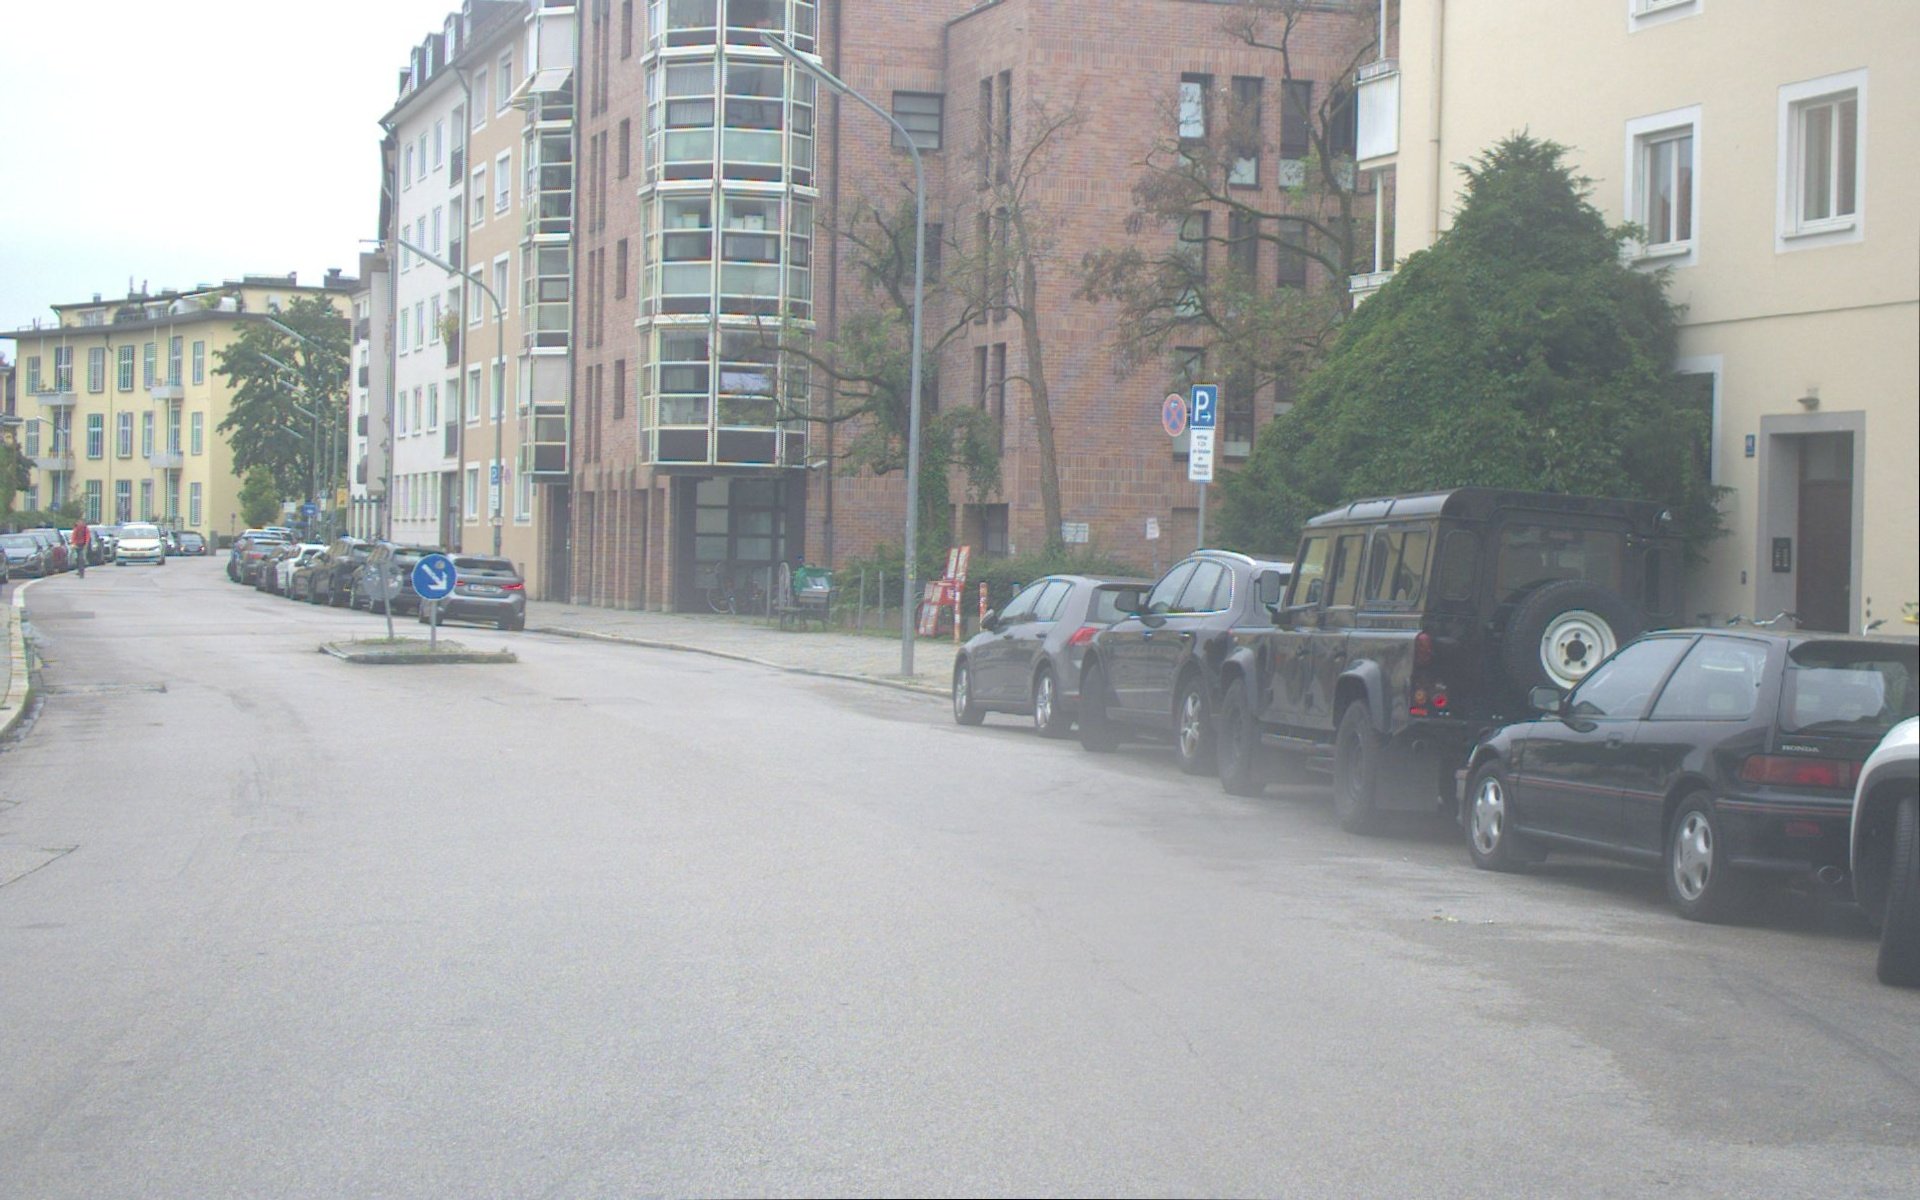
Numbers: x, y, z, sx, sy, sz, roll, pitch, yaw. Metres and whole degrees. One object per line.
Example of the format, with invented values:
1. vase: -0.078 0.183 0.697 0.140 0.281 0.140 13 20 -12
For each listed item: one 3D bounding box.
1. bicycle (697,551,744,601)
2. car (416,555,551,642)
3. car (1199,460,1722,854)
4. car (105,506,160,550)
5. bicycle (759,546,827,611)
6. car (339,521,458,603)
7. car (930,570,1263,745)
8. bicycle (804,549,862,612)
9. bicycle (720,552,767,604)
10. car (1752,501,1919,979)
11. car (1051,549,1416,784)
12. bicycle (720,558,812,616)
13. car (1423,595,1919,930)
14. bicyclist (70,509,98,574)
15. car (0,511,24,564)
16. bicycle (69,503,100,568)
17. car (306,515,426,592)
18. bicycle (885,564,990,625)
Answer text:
1. bicycle: -5.247 -0.528 75.202 0.486 1.056 1.996 3 0 -19
2. car: -9.310 -0.051 66.875 1.924 1.507 4.393 3 0 -16
3. car: 2.905 0.247 21.057 1.747 2.074 4.517 3 1 -10
4. car: -33.134 -2.871 137.617 2.025 1.616 4.506 -1 0 -15
5. bicycle: -3.302 -0.427 67.758 0.534 1.244 2.414 3 -1 -22
6. car: -12.614 -0.870 77.041 1.829 1.596 4.268 3 1 -20
7. car: 1.144 0.473 30.895 1.753 1.391 4.046 3 0 -16
8. bicycle: -2.440 -0.372 66.345 0.420 1.169 1.359 4 1 29
9. bicycle: -4.756 -0.489 75.345 0.486 1.056 1.996 3 1 -18
10. car: 4.557 0.579 11.421 2.025 1.672 4.614 3 1 -10
11. car: 1.984 0.437 26.338 1.658 1.560 4.516 3 0 -10
12. bicycle: -4.161 -0.280 73.710 1.848 1.143 0.488 3 1 -10
13. car: 3.693 0.704 16.348 1.658 1.344 3.805 3 0 -13
14. bicyclist: -27.826 -1.861 109.211 0.766 2.006 0.768 -2 2 -11
15. car: -30.739 -2.026 109.110 1.772 1.545 3.780 3 1 -13
16. bicycle: -27.779 -2.073 109.097 0.748 2.006 2.848 -1 2 -10
17. car: -14.134 -1.131 81.562 1.963 1.596 4.673 3 1 -20
18. bicycle: -0.393 -0.099 60.155 1.700 0.962 0.546 3 1 -15
